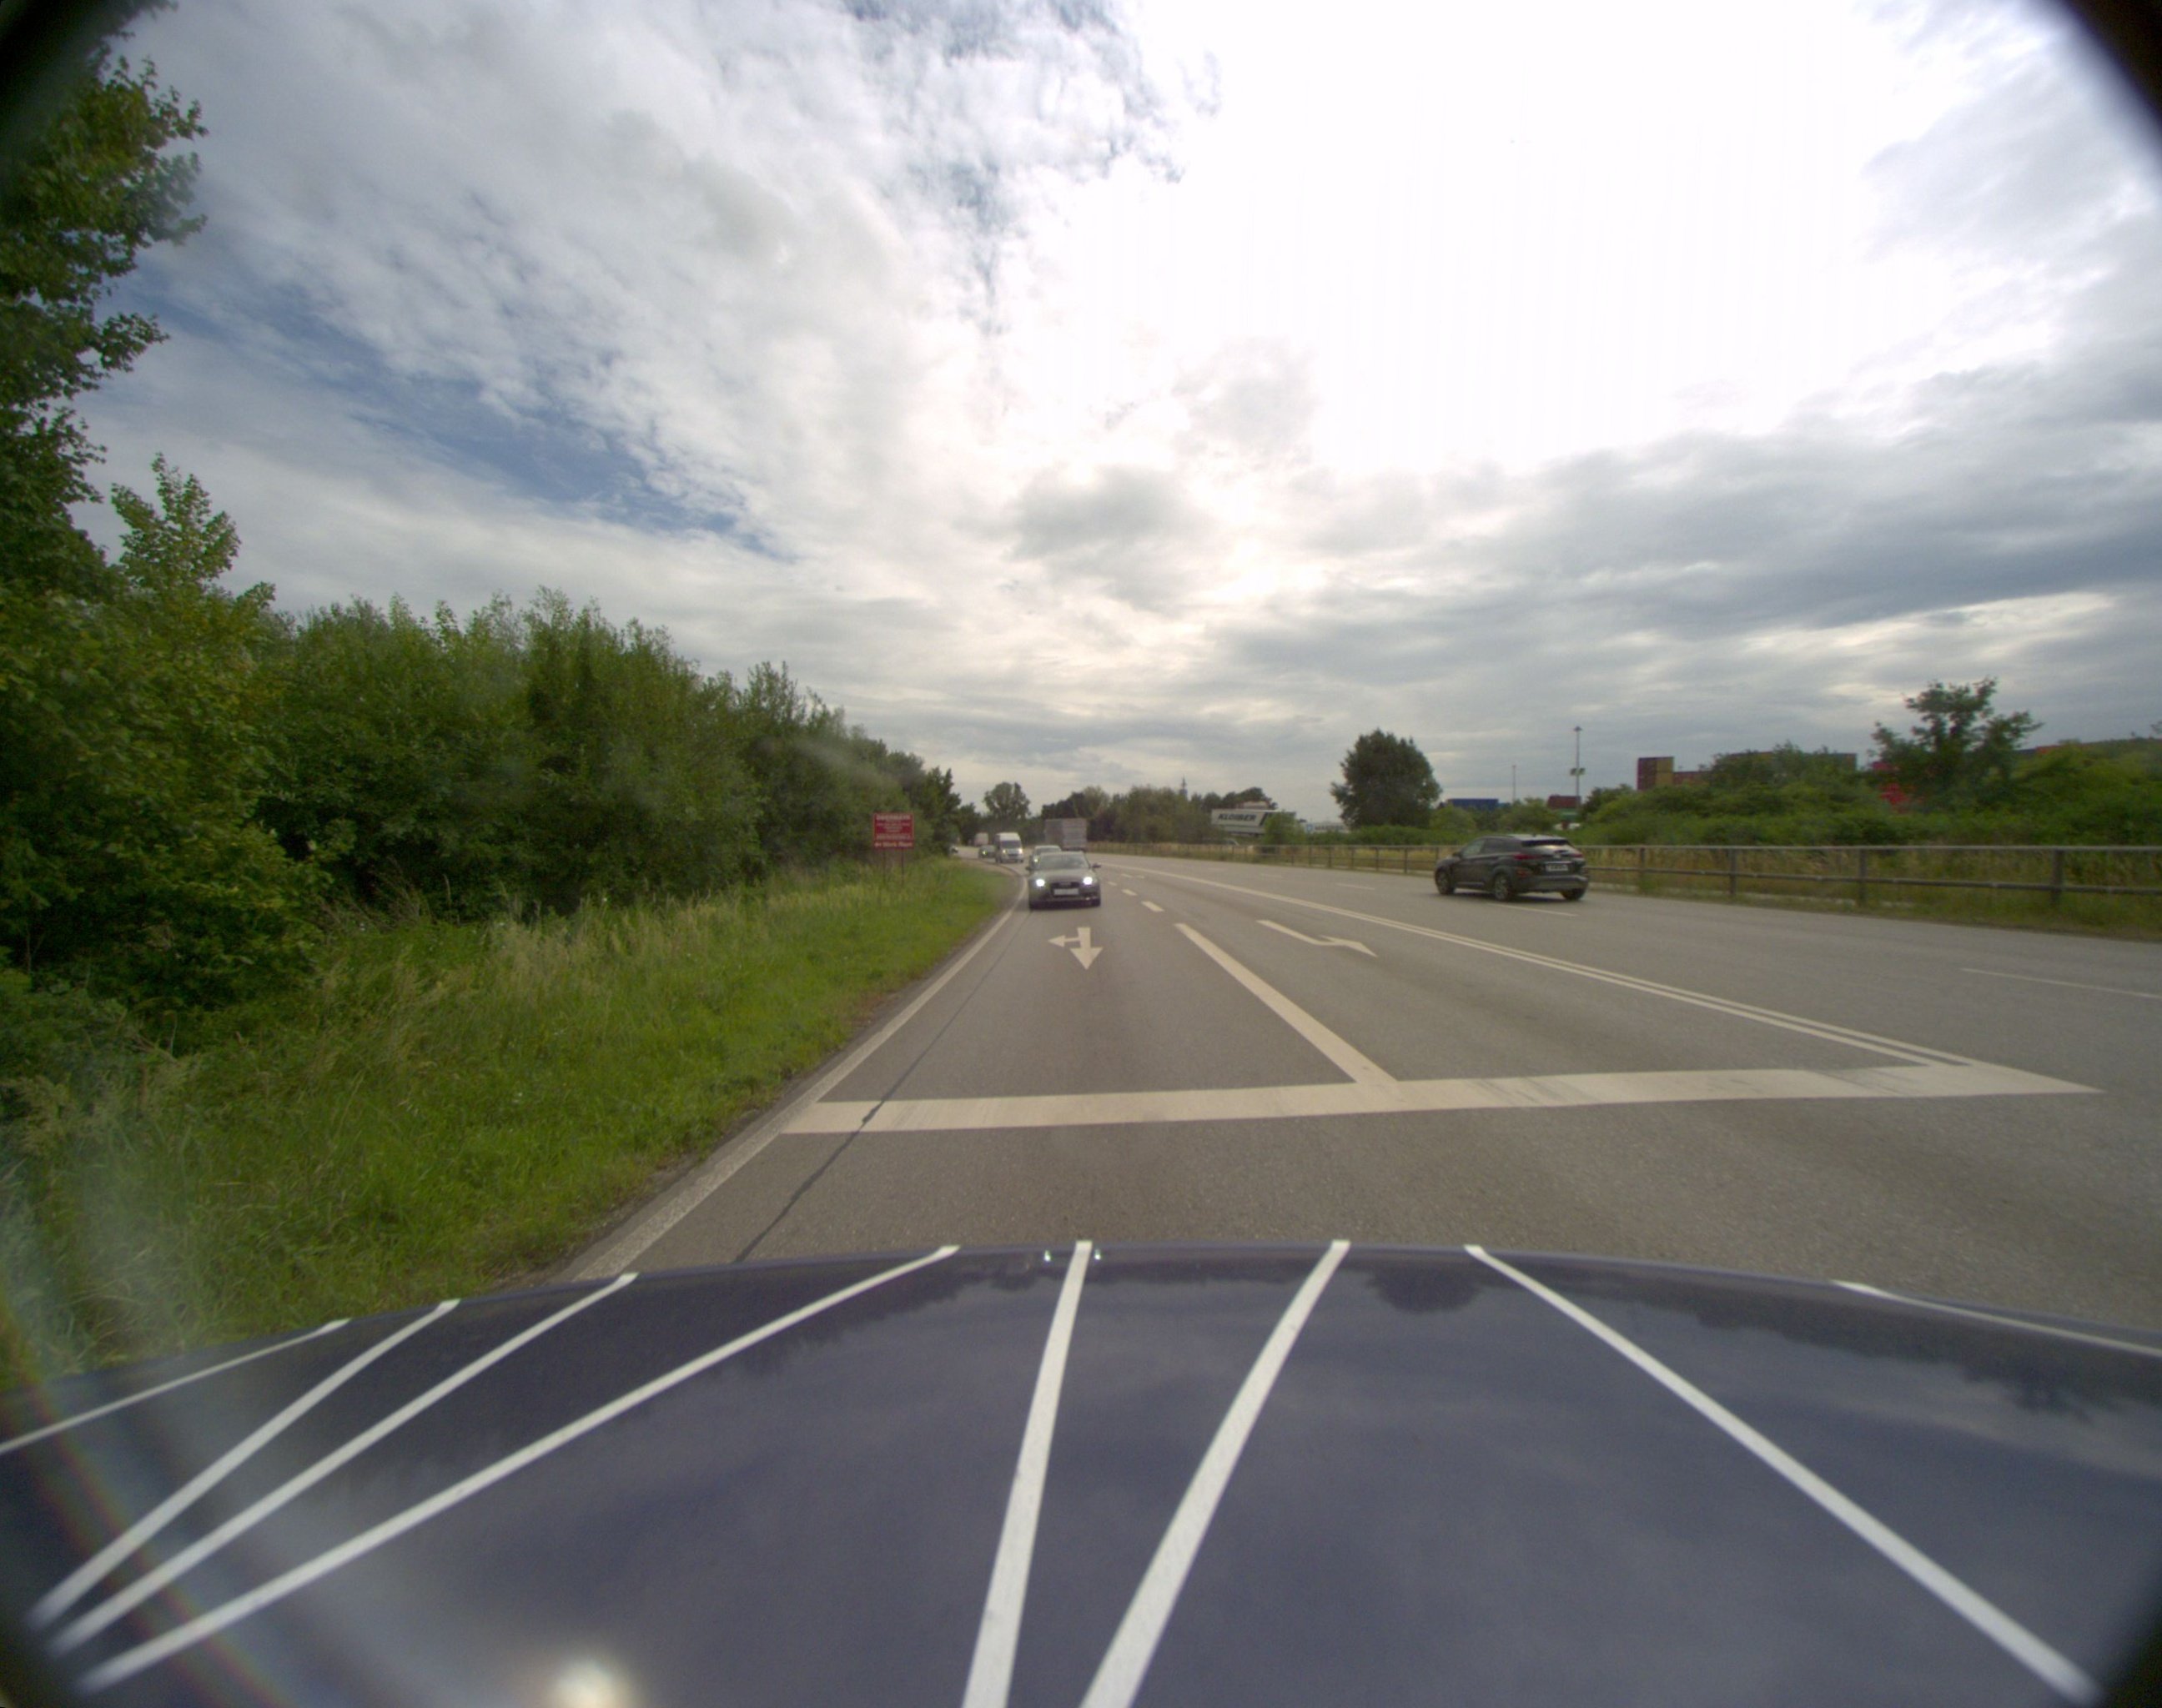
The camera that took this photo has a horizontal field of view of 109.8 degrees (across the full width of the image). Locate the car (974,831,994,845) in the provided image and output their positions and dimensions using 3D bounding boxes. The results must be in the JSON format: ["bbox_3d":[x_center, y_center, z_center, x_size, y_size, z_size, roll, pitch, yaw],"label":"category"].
[{"bbox_3d":[-18.738,-3.077,146.126,2.443,2.659,6.876,-2,2,-18],"label":"car"}]

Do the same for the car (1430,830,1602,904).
[{"bbox_3d":[10.333,0.243,18.418,1.796,1.564,3.998,-1,1,-2],"label":"car"}]

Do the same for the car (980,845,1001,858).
[{"bbox_3d":[-10.054,-0.314,84.484,1.733,1.357,3.994,-1,1,-16],"label":"car"}]

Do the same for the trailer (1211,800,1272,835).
[{"bbox_3d":[24.082,-5.363,114.410,2.812,4.969,8.958,-4,3,-40],"label":"trailer"}]

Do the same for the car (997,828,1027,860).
[{"bbox_3d":[-6.351,-0.896,69.113,2.220,2.655,5.234,-4,2,-9],"label":"car"}]

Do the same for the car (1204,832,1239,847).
[{"bbox_3d":[18.930,-1.915,102.649,4.539,1.865,2.001,-1,2,11],"label":"car"}]

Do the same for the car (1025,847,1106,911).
[{"bbox_3d":[-0.464,0.607,20.999,1.958,1.527,3.998,-2,1,-2],"label":"car"}]

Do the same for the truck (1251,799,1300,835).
[{"bbox_3d":[28.028,-5.320,109.659,2.809,4.969,6.172,-4,3,-40],"label":"truck"}]

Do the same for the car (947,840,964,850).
[{"bbox_3d":[-18.351,-1.361,110.954,1.733,1.357,3.992,-1,1,-20],"label":"car"}]

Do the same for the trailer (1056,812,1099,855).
[{"bbox_3d":[-0.473,-2.019,76.690,2.537,4.078,6.724,-2,1,-16],"label":"trailer"}]

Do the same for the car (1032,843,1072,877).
[{"bbox_3d":[-1.657,0.294,41.860,2.021,1.604,4.277,-2,2,-4],"label":"car"}]

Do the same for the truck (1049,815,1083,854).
[{"bbox_3d":[-1.676,-2.068,80.786,2.550,4.073,3.993,-2,2,-17],"label":"truck"}]
